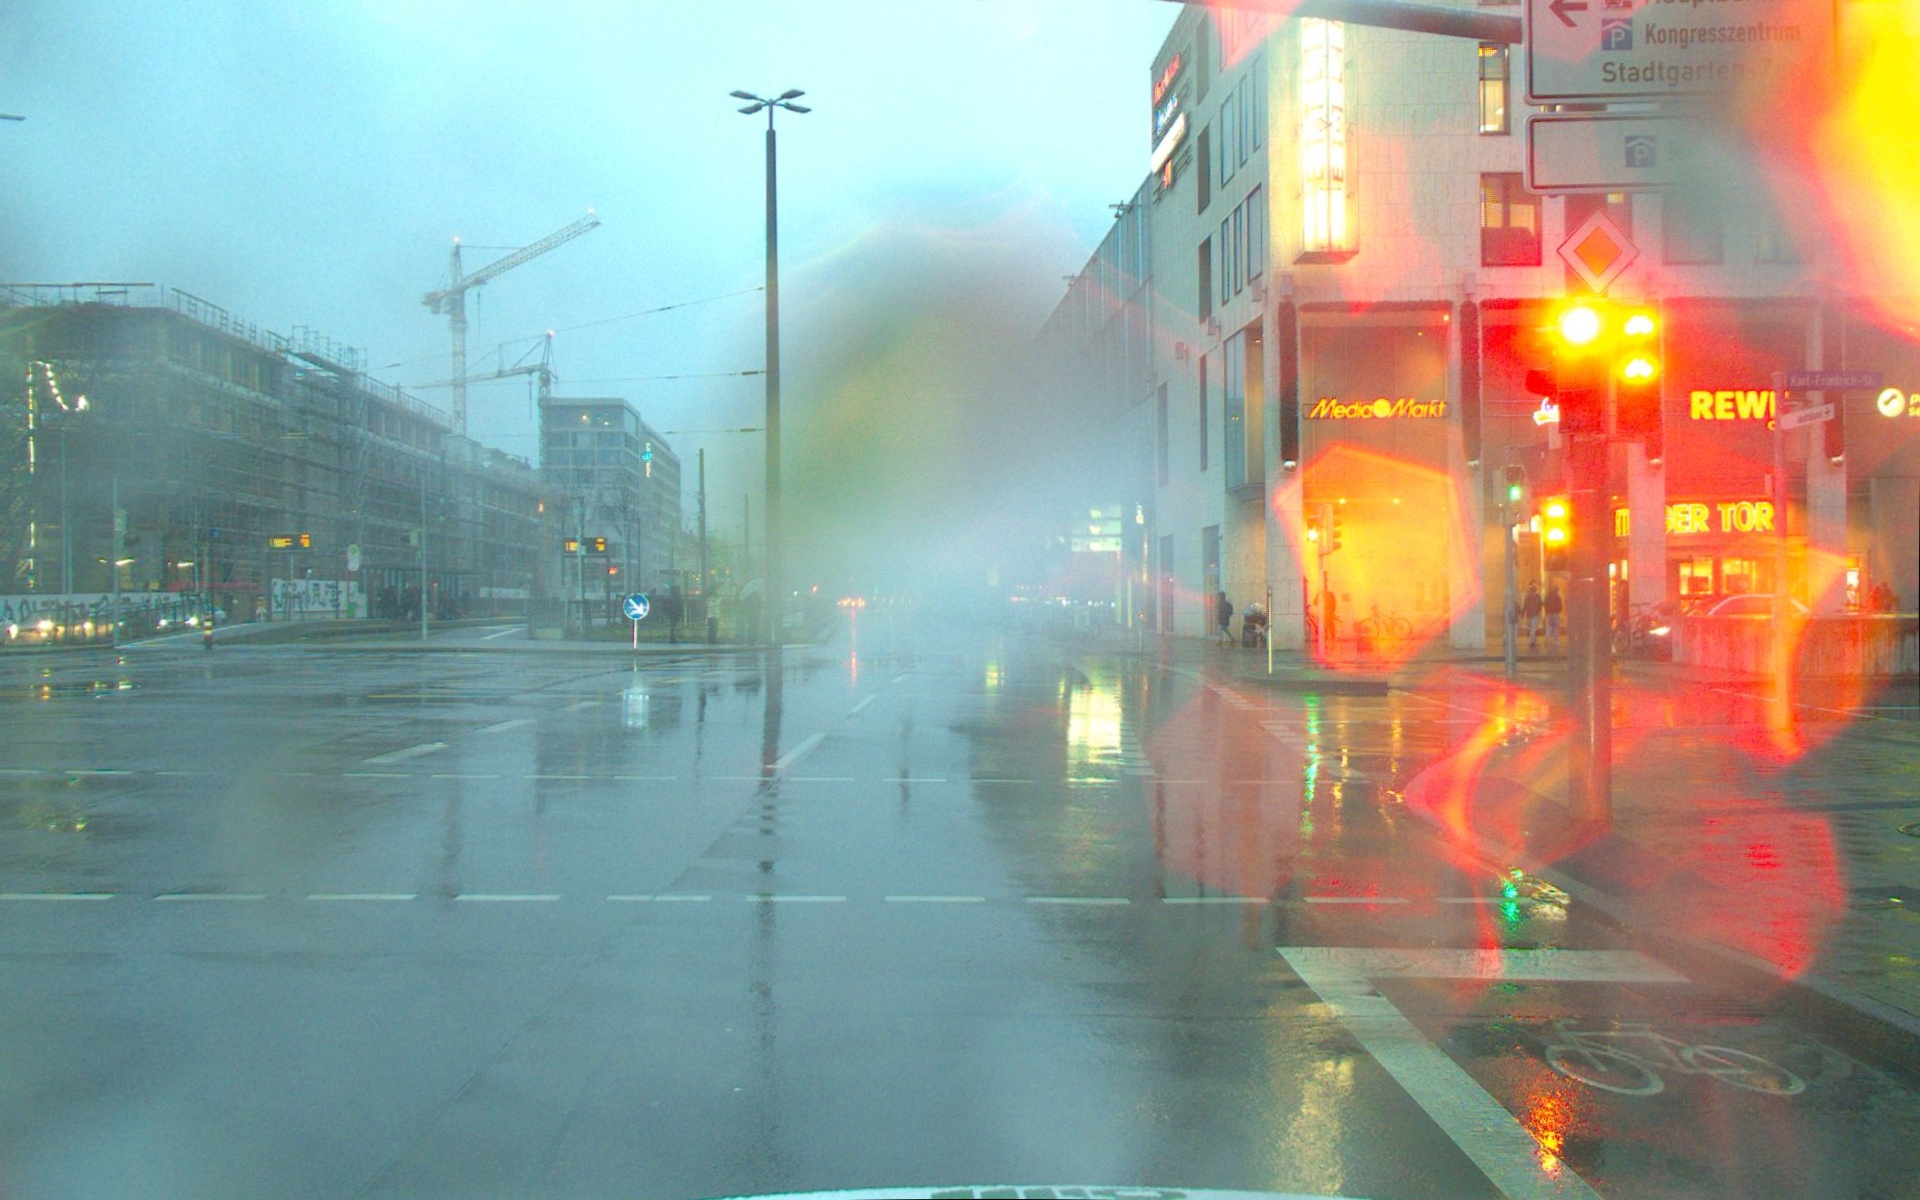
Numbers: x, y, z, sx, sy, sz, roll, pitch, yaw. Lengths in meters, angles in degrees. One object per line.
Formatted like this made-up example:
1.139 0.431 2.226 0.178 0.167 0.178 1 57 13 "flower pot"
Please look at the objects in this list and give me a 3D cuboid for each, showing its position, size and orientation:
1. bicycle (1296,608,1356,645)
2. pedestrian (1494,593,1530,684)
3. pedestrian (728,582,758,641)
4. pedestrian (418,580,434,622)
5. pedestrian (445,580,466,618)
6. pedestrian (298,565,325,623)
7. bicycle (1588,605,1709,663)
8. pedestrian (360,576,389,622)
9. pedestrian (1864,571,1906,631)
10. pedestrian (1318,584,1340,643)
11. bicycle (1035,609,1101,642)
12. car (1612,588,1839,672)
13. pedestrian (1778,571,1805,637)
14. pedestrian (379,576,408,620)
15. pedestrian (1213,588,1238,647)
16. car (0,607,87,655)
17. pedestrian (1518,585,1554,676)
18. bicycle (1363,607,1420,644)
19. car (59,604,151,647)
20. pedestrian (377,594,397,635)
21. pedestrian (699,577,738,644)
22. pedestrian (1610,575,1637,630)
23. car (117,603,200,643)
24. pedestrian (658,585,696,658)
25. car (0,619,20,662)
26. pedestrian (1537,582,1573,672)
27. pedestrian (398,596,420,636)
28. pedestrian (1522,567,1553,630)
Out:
11.243 0.817 50.832 1.734 1.088 0.523 1 -1 -9 "bicycle"
15.235 1.053 45.641 0.700 2.484 0.758 1 -1 -1 "pedestrian"
-6.280 0.332 47.881 0.601 1.715 0.575 0 -1 41 "pedestrian"
-25.968 0.050 80.412 0.559 2.002 0.664 2 -1 -7 "pedestrian"
-27.707 -0.057 90.926 0.925 2.049 1.091 1 -1 -10 "pedestrian"
-26.817 -0.230 68.402 0.750 2.364 0.762 1 -2 -1 "pedestrian"
17.196 0.840 41.341 2.659 1.383 0.957 -1 -1 -4 "bicycle"
-26.795 -0.040 75.649 0.923 2.049 1.093 1 -1 -2 "pedestrian"
26.865 0.030 48.032 0.875 1.714 0.528 -1 -1 -1 "pedestrian"
11.190 0.402 50.190 0.587 1.775 0.525 1 -1 7 "pedestrian"
4.006 0.938 61.678 2.393 1.174 0.674 -1 -1 -2 "bicycle"
16.165 0.623 35.077 3.905 1.646 2.000 1 0 0 "car"
23.725 0.107 47.188 0.540 1.858 0.361 -1 -1 0 "pedestrian"
-26.615 -0.094 77.781 0.922 2.049 1.094 1 -1 1 "pedestrian"
7.915 0.508 49.346 0.624 1.739 0.573 -1 0 -2 "pedestrian"
-37.160 1.236 67.011 1.830 1.860 3.993 1 0 -8 "car"
15.966 0.836 45.858 0.675 2.484 0.758 1 -1 -1 "pedestrian"
13.297 0.784 51.001 1.614 1.088 0.524 1 -1 -5 "bicycle"
-37.725 1.106 73.061 1.953 1.822 4.000 1 0 0 "car"
-26.560 0.676 76.704 0.684 1.913 0.553 1 -1 -2 "pedestrian"
-6.785 0.285 46.467 0.813 1.863 0.777 1 -1 -31 "pedestrian"
21.225 0.085 52.886 0.721 1.748 0.738 -1 -1 27 "pedestrian"
-38.049 1.081 78.604 1.953 1.822 4.000 1 0 0 "car"
-8.070 0.611 47.192 0.771 2.049 0.724 0 -1 41 "pedestrian"
-36.413 1.514 60.522 2.038 1.557 4.604 -1 0 -10 "car"
16.675 0.764 46.340 0.679 2.491 0.791 1 -1 -1 "pedestrian"
-26.291 0.769 78.969 0.750 1.931 0.762 1 -2 -1 "pedestrian"
19.039 -0.039 54.505 0.828 2.049 0.698 -1 0 8 "pedestrian"
